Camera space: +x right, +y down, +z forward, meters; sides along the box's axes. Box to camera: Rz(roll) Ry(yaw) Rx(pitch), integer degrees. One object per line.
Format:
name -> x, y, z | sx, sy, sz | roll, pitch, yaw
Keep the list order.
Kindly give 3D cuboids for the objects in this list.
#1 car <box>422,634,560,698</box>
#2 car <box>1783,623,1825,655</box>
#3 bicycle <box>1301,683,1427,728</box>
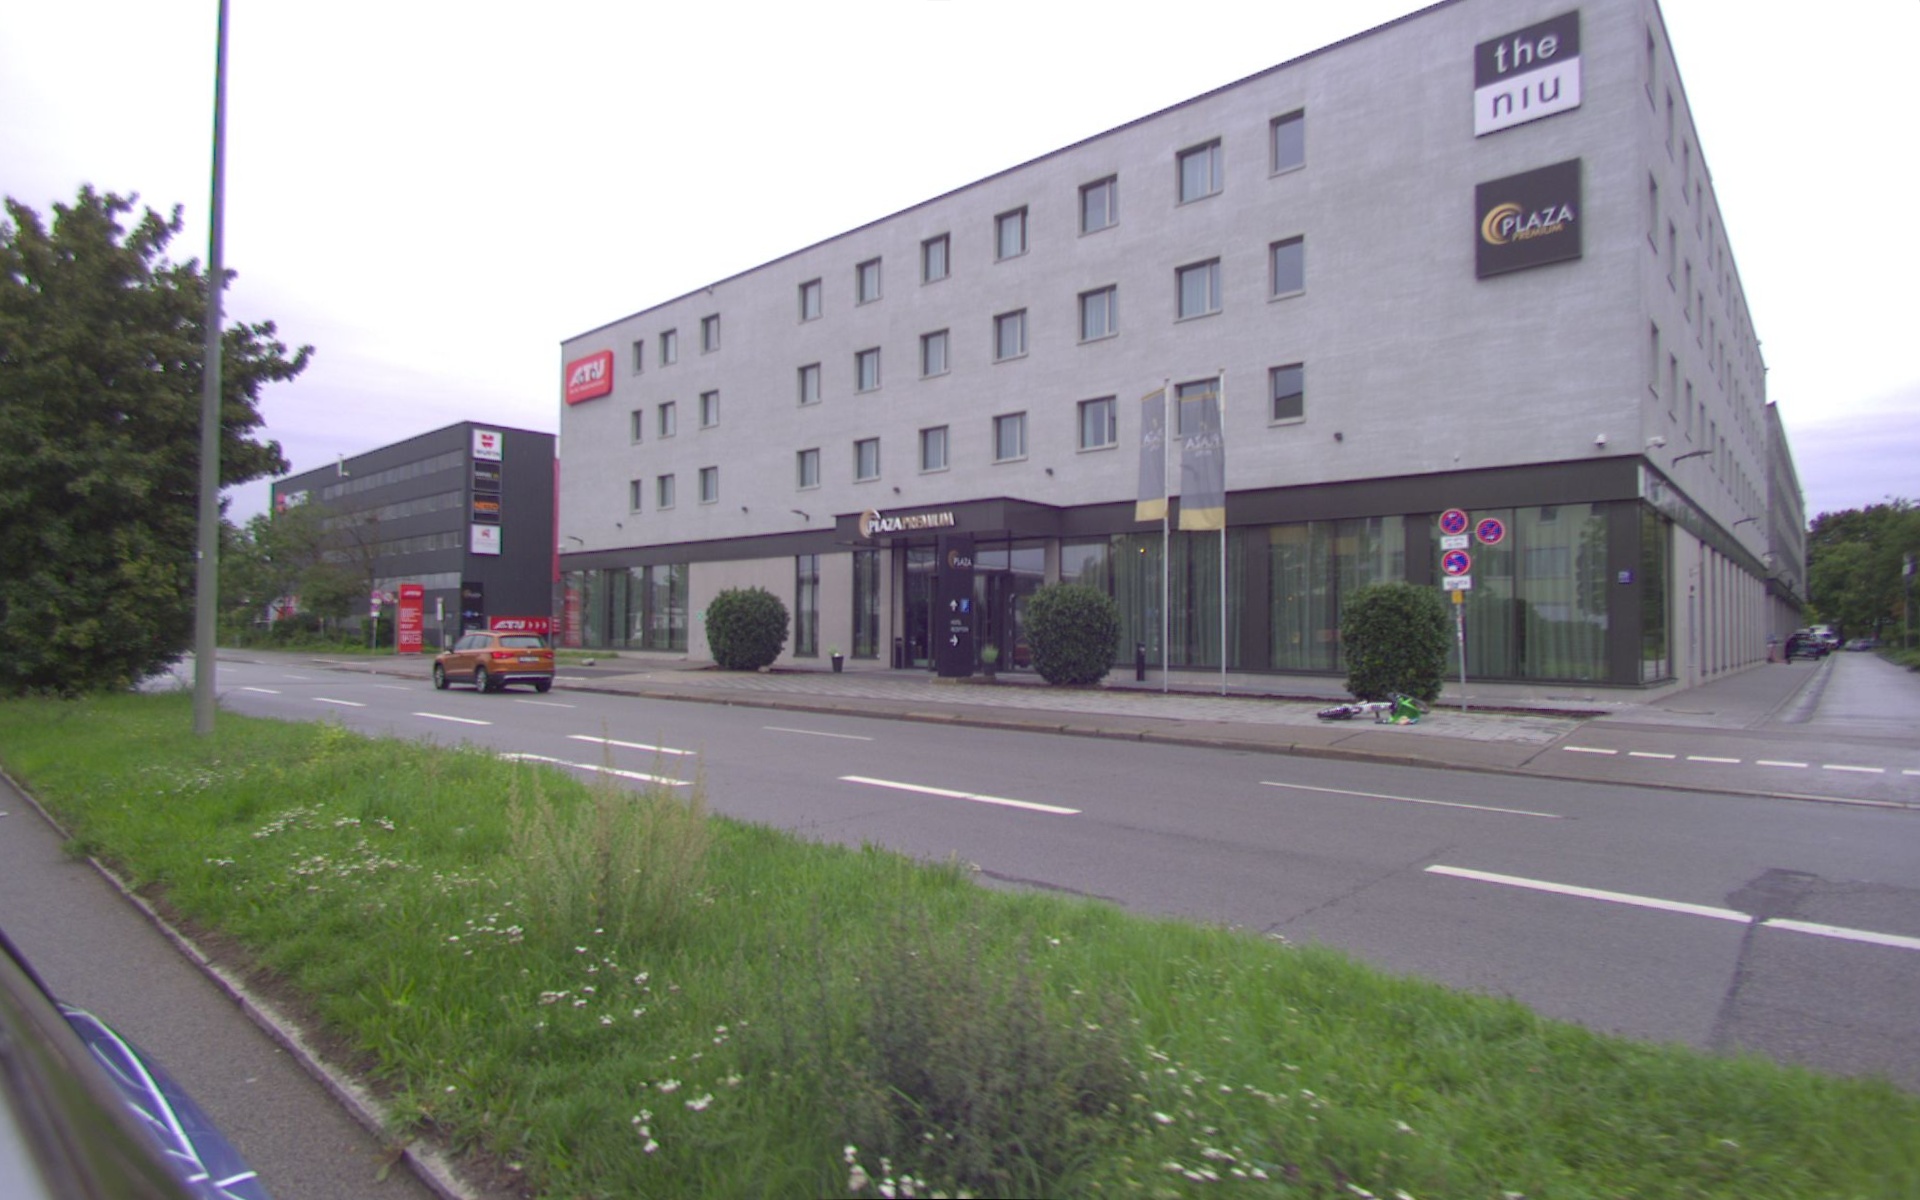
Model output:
car -> -12.509, 1.705, 26.890 | 4.302, 1.560, 1.717 | -1, -4, 42
car -> 55.485, 2.524, 66.533 | 1.999, 2.029, 3.945 | -2, -1, 41
bicycle -> 6.445, 1.676, 16.189 | 1.732, 0.553, 0.712 | -1, 1, 42
